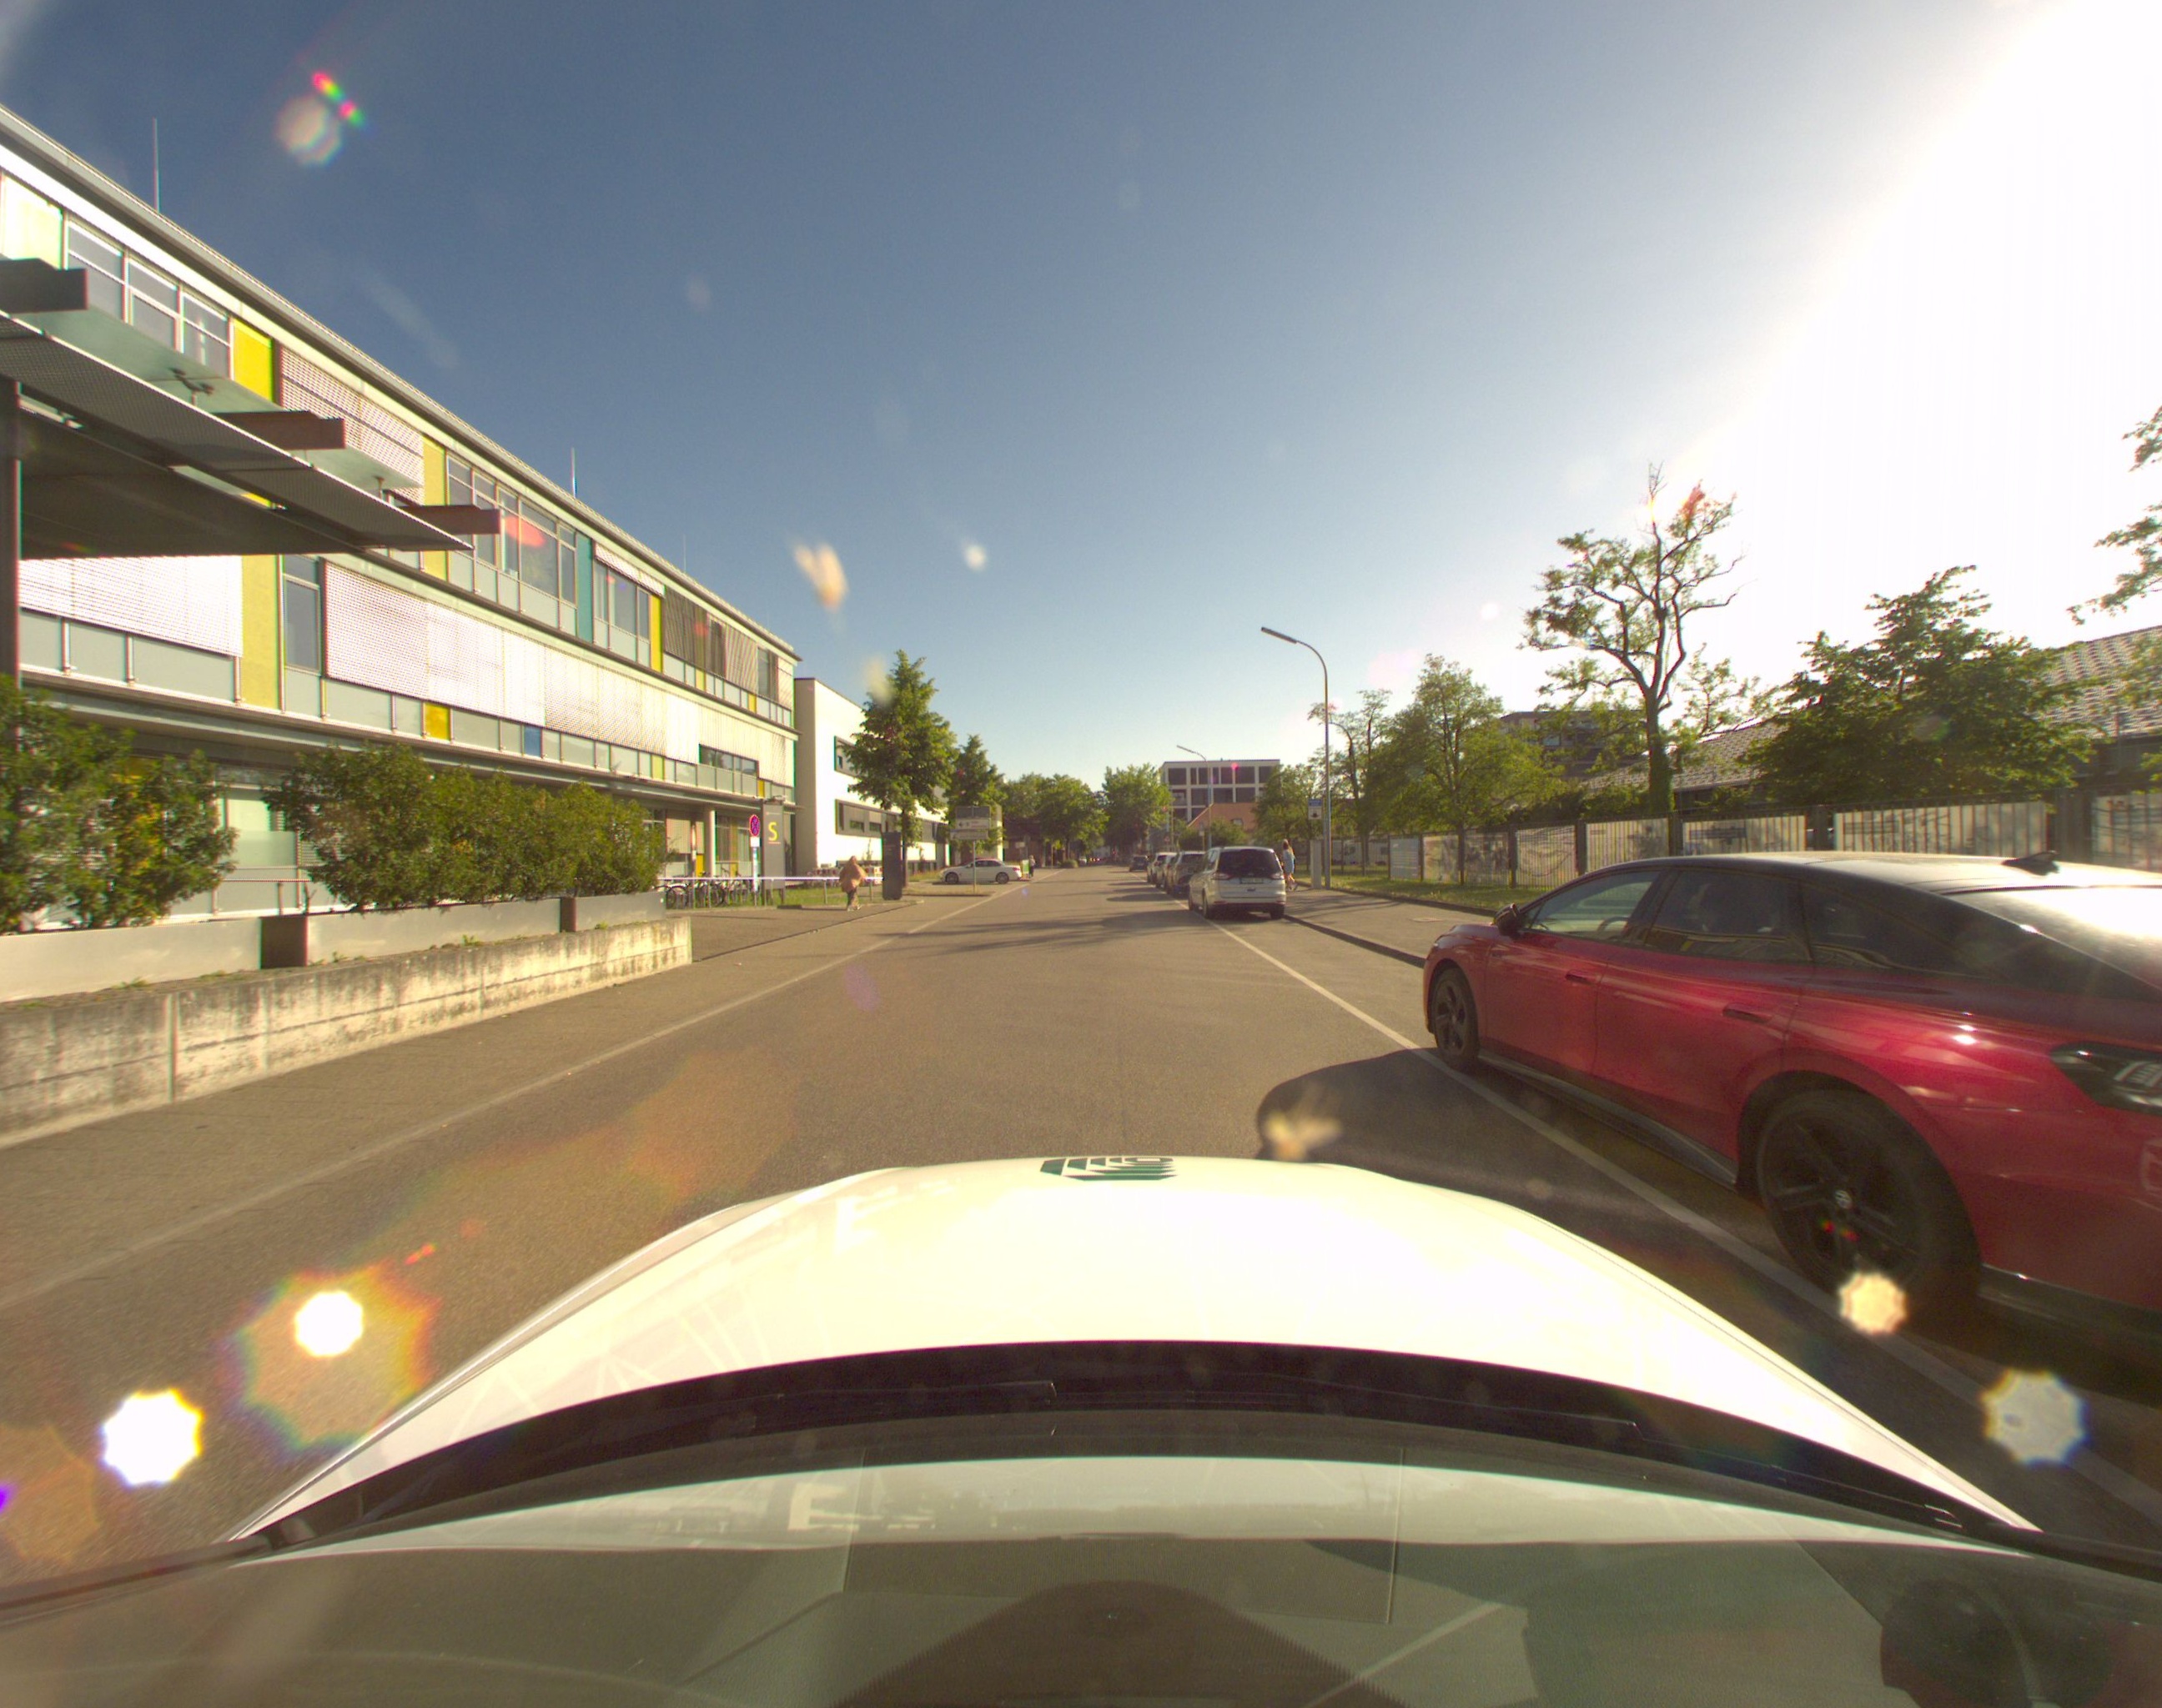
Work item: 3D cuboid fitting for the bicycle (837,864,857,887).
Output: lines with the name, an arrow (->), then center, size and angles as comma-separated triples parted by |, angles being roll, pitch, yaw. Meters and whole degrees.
bicycle -> -11.975, 1.094, 41.731 | 0.418, 1.123, 1.765 | -2, 0, 2

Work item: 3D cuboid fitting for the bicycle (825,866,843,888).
bicycle -> -12.105, 1.114, 39.960 | 0.393, 0.988, 1.451 | -2, 0, 2

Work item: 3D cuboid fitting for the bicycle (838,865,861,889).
bicycle -> -11.399, 1.125, 40.224 | 0.532, 1.111, 1.861 | -2, 0, 1

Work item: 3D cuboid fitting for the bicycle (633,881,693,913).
bicycle -> -14.006, 1.447, 27.332 | 1.709, 0.994, 0.536 | -2, 0, 0

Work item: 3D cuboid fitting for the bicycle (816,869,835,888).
bicycle -> -12.497, 1.187, 39.866 | 0.367, 0.863, 1.451 | -2, 0, 2

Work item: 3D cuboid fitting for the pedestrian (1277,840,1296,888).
pedestrian -> 7.506, 0.360, 29.745 | 0.519, 1.708, 0.522 | 1, -1, -1

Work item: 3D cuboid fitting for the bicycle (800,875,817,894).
bicycle -> -13.502, 1.494, 40.370 | 0.254, 0.873, 1.451 | -2, 0, 3

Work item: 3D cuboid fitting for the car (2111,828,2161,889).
car -> 24.043, 0.111, 16.527 | 4.131, 1.252, 1.827 | 1, 0, -2

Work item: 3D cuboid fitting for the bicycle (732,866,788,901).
bicycle -> -10.834, 0.980, 27.499 | 1.694, 1.121, 0.537 | -2, 0, 6

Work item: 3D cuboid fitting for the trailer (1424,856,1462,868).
trailer -> 31.865, 0.674, 71.816 | 1.886, 0.919, 5.123 | -1, 0, 10

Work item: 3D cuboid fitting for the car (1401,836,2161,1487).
car -> 3.434, 0.715, 4.144 | 1.803, 1.510, 4.722 | 0, 0, 0

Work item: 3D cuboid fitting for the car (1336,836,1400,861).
car -> 26.575, -0.481, 75.608 | 5.256, 2.202, 2.004 | -1, 1, 7

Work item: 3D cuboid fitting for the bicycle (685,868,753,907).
bicycle -> -10.559, 0.968, 23.808 | 1.710, 1.055, 0.536 | -2, 0, -1

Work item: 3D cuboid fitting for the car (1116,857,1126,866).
car -> 7.940, 1.491, 160.995 | 1.943, 1.578, 3.838 | -1, 0, 2

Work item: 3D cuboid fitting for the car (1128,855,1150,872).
car -> 5.013, 0.806, 71.030 | 1.810, 1.453, 4.216 | -2, 0, 2

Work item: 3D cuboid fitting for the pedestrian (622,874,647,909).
pedestrian -> -15.474, 1.282, 28.212 | 0.529, 1.173, 0.556 | -1, 0, 2

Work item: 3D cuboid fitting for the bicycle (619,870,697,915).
bicycle -> -11.110, 1.001, 21.422 | 1.714, 1.123, 0.535 | -2, 0, -9

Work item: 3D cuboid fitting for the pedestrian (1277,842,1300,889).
pedestrian -> 7.314, 0.407, 28.752 | 0.679, 1.611, 0.540 | 1, -1, -1

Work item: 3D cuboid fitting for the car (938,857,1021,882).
car -> -5.689, 0.871, 46.024 | 4.502, 1.367, 1.698 | 0, 0, -4

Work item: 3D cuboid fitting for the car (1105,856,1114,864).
car -> 5.697, 1.162, 164.274 | 1.761, 1.548, 4.065 | -1, 0, 0

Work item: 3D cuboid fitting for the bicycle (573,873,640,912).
bicycle -> -14.514, 1.167, 24.915 | 1.709, 1.123, 0.536 | -2, 0, 0

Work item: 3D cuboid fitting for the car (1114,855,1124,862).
car -> 8.253, 0.967, 177.125 | 1.986, 1.465, 3.838 | -1, 0, 2

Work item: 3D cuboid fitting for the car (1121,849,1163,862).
car -> 7.162, 0.196, 95.790 | 4.542, 1.442, 1.754 | -2, 0, -23

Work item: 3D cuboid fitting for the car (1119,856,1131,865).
car -> 7.124, 0.997, 132.011 | 1.761, 1.440, 4.000 | -1, 0, 0

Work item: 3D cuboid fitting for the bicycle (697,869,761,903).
bicycle -> -10.886, 0.979, 25.187 | 1.710, 0.974, 0.536 | -2, 0, -1

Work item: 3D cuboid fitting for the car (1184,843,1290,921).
car -> 3.777, 0.619, 20.523 | 1.803, 1.722, 4.704 | 0, 0, 0

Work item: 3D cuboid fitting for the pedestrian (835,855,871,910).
pedestrian -> -6.502, 0.800, 23.283 | 0.770, 1.549, 0.780 | 1, -1, 1

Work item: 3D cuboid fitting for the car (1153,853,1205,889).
car -> 4.226, 0.687, 35.664 | 1.696, 1.487, 3.978 | 0, 0, -1

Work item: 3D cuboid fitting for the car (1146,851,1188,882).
car -> 4.518, 0.631, 43.378 | 1.807, 1.588, 4.261 | 0, 0, 0

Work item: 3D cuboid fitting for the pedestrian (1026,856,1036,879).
pedestrian -> -3.388, 0.889, 55.228 | 0.536, 1.524, 0.607 | -2, 0, 2

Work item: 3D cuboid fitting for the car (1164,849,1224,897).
car -> 4.056, 0.647, 29.804 | 1.694, 1.606, 4.354 | 0, 0, 2

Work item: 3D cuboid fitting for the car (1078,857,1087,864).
car -> 0.344, 1.305, 171.966 | 1.761, 1.487, 4.000 | -1, 0, 0

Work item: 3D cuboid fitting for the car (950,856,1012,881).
car -> -5.991, 0.878, 48.995 | 3.627, 1.469, 1.612 | 0, 0, -4
